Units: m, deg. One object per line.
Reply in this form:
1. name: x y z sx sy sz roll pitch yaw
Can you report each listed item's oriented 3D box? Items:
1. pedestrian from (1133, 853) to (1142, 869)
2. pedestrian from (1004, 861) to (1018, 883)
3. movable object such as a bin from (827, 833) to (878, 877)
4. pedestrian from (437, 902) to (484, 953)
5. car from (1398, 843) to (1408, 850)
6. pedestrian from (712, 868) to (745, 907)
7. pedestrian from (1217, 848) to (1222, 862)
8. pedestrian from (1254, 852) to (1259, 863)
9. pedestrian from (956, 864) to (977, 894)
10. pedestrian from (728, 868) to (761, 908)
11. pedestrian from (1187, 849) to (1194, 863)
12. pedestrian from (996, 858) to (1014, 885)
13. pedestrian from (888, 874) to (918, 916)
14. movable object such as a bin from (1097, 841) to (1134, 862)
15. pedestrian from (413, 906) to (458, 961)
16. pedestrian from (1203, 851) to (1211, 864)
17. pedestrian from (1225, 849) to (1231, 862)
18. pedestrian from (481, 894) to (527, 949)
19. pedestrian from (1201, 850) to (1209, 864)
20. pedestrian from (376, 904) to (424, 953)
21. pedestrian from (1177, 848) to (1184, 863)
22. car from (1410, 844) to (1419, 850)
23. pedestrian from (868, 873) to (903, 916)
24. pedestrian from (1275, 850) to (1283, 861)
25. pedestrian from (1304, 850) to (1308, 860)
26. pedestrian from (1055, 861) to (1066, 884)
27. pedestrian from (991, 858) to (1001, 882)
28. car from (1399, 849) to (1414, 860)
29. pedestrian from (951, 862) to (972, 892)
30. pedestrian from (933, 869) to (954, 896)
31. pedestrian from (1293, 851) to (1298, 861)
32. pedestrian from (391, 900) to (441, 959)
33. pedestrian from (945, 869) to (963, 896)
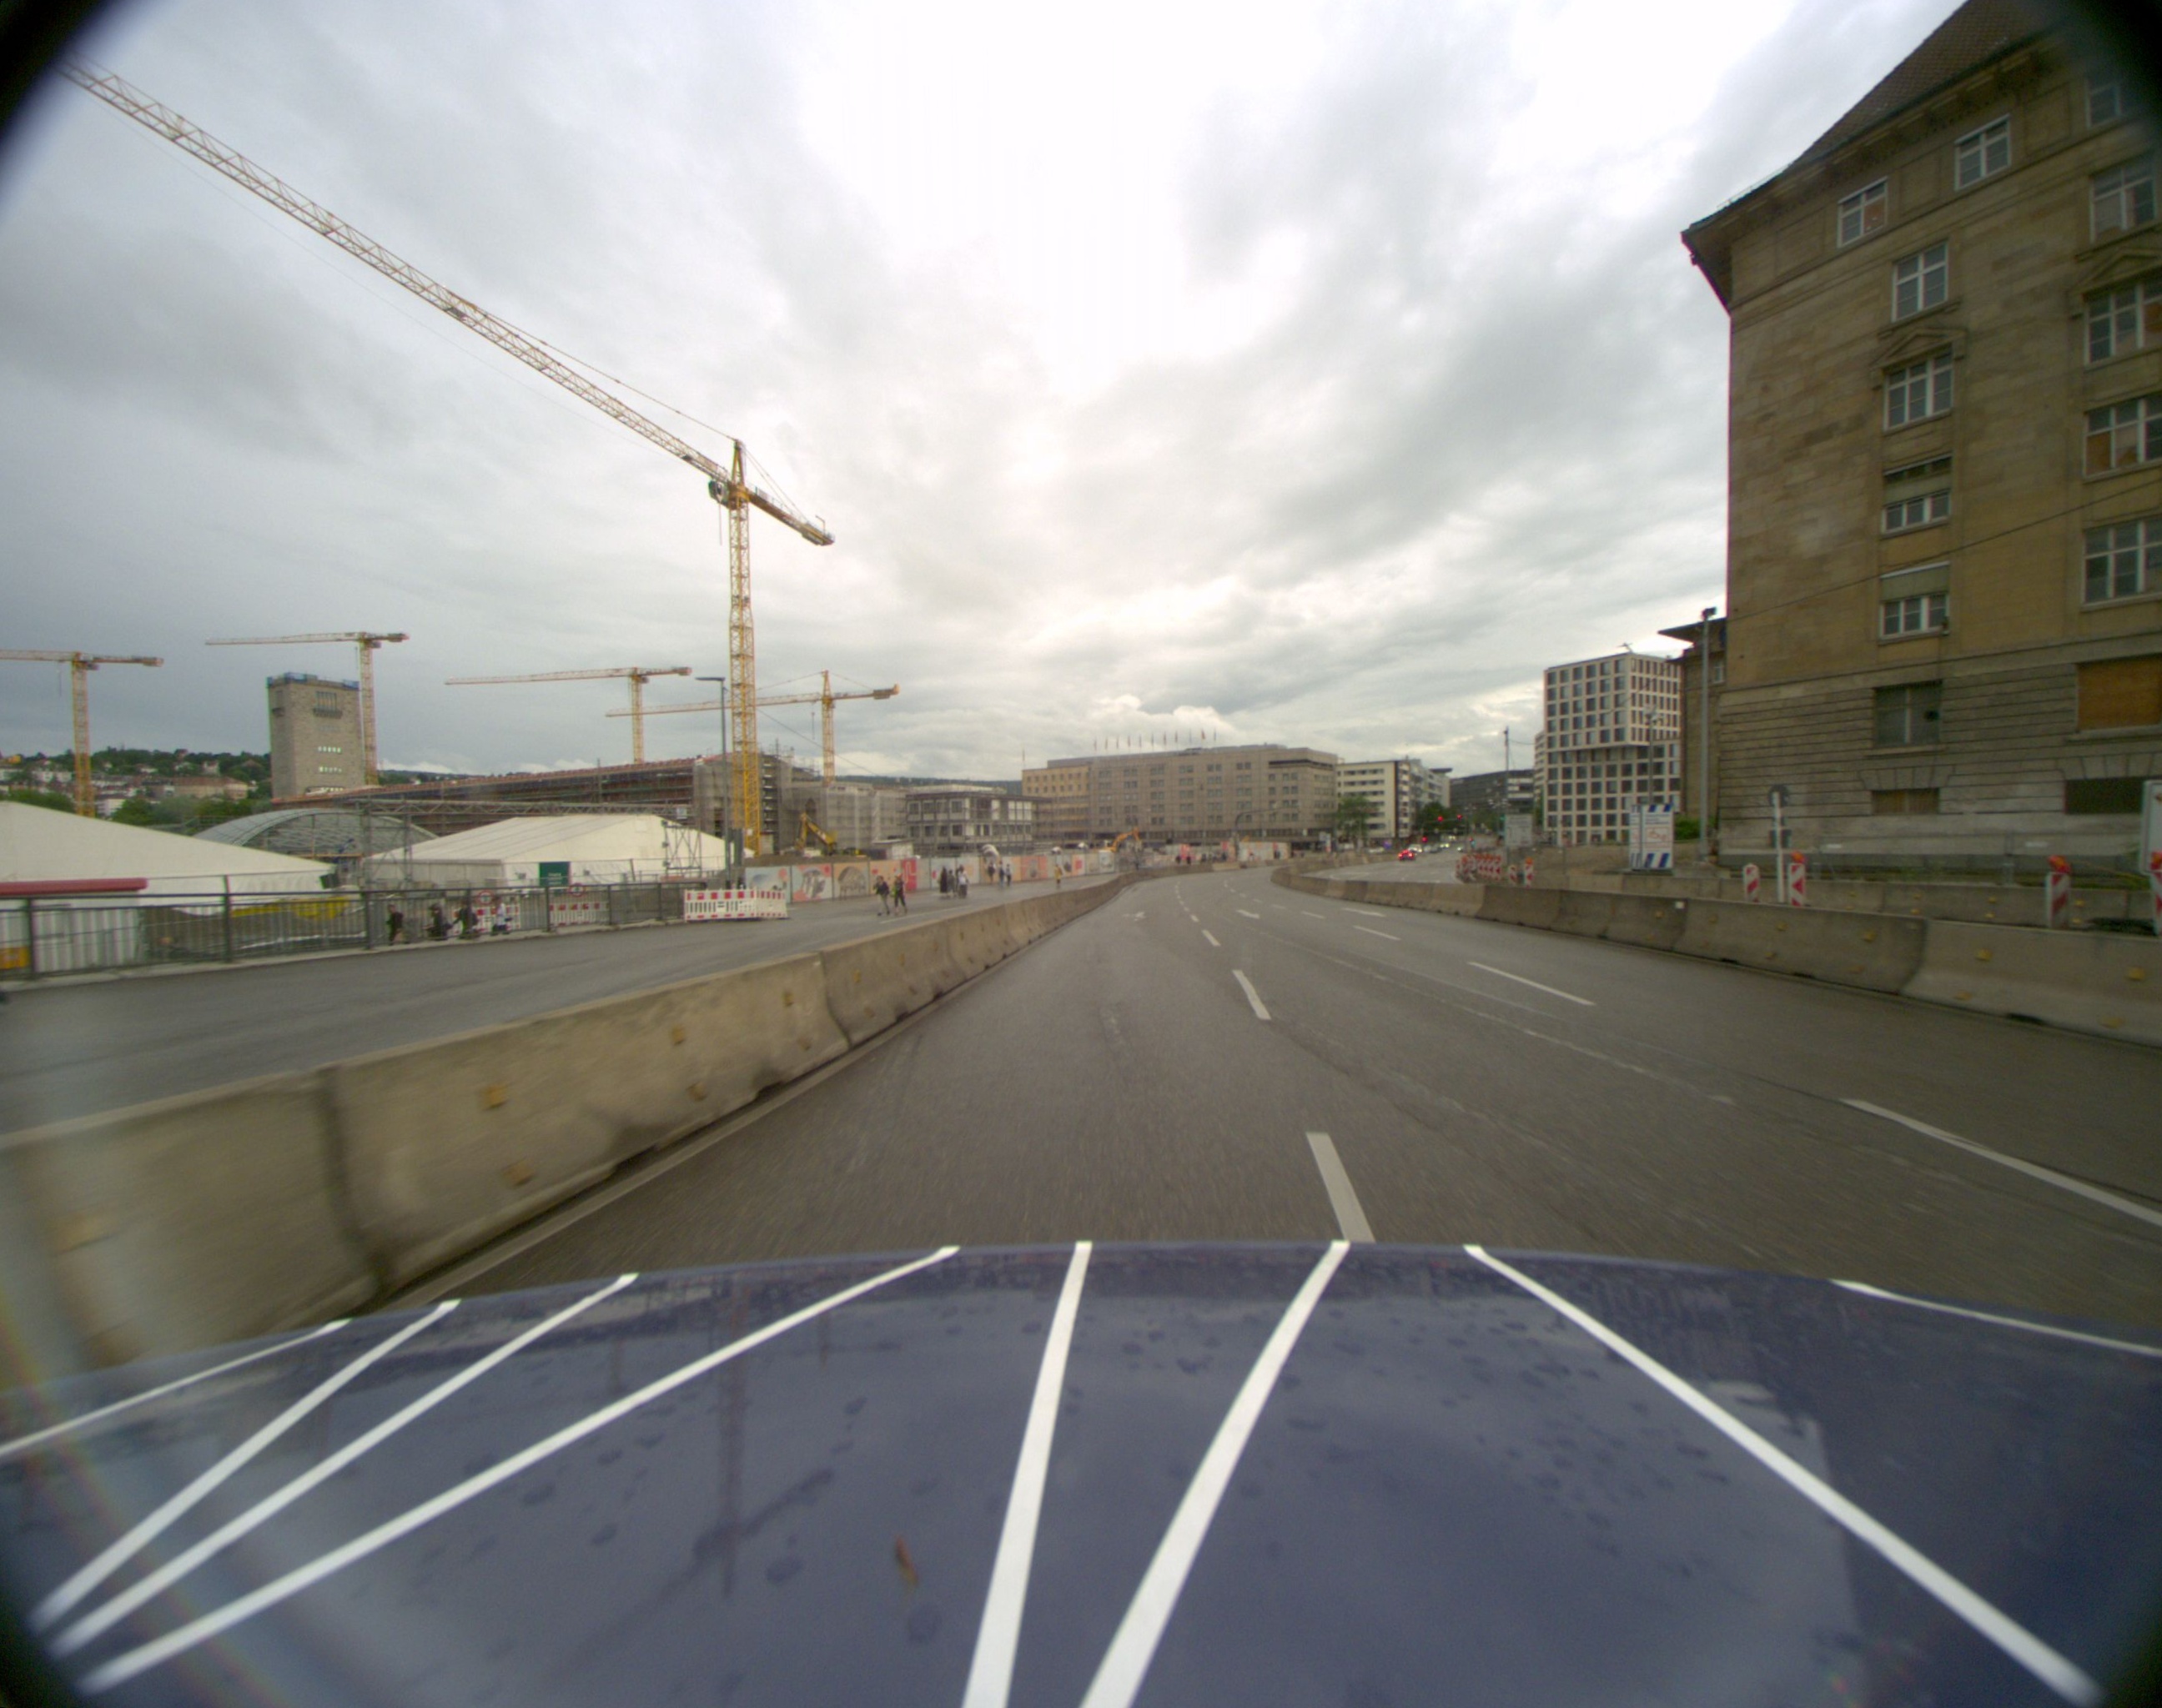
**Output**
1. pedestrian: 5.900 0.748 79.421 0.745 1.696 0.688 1 2 20
2. pedestrian: -5.088 1.317 55.480 0.647 1.544 0.767 0 2 42
3. movable object such as a bin: -18.196 0.064 60.661 1.940 3.389 4.234 0 1 13
4. pedestrian: -21.313 2.508 26.094 0.866 1.627 1.010 0 2 35
5. car: 78.305 -1.801 184.631 1.995 1.814 4.007 0 1 28
6. pedestrian: -16.067 1.512 34.659 0.866 1.679 1.010 0 2 35
7. pedestrian: 18.060 0.129 99.093 0.585 1.698 0.678 1 2 18
8. pedestrian: 25.762 0.511 111.476 0.647 1.660 0.767 1 2 18
9. pedestrian: -6.628 1.444 44.037 0.778 1.713 0.893 0 1 26
10. pedestrian: -15.114 1.494 34.106 0.866 1.716 1.010 0 2 35
11. pedestrian: 12.827 0.227 89.016 0.647 1.637 0.948 1 2 20
12. pedestrian: -5.342 1.242 53.412 0.818 1.838 0.933 0 2 42
13. pedestrian: -6.899 1.566 29.442 0.732 1.565 0.806 -2 0 34
14. movable object such as a bin: 4.295 -0.362 94.835 4.134 2.521 1.995 -1 1 -29
15. pedestrian: -20.569 2.524 24.220 0.698 1.627 0.918 0 2 35
16. pedestrian: 15.756 0.438 95.087 0.654 1.681 0.777 2 2 30
17. pedestrian: 19.614 0.217 101.547 0.647 1.751 0.584 1 2 18
18. pedestrian: -19.977 2.319 26.306 0.866 1.771 1.010 0 2 35
19. pedestrian: 15.049 0.332 92.337 0.654 1.681 0.777 2 2 30
20. pedestrian: -23.539 2.562 26.269 0.866 1.544 1.010 0 2 35
21. pedestrian: 11.663 0.175 89.345 0.647 1.733 0.767 1 2 20
22. car: 80.248 -1.676 182.614 1.705 1.445 3.802 0 1 28
23. pedestrian: -7.655 1.572 29.742 0.860 1.584 0.954 0 2 34
24. pedestrian: 32.395 0.187 124.334 1.097 1.751 0.908 2 2 33
25. pedestrian: 39.237 0.234 132.677 0.652 1.751 0.549 1 2 18
26. pedestrian: -1.441 1.352 54.795 0.648 1.623 0.908 -1 1 7
27. pedestrian: -6.382 1.200 57.254 0.567 1.738 0.496 0 2 24
28. car: 46.475 0.018 108.484 1.767 1.512 4.394 0 1 26
29. pedestrian: -7.634 1.457 48.446 0.867 1.807 1.010 0 1 26
30. pedestrian: -8.021 1.638 44.270 0.714 1.544 1.010 0 1 26
31. pedestrian: 35.703 0.326 126.399 0.755 1.751 0.767 1 2 18
32. pedestrian: -21.438 2.401 24.492 0.771 1.773 1.010 0 2 35
33. pedestrian: -7.383 1.640 44.050 0.609 1.514 0.887 0 1 26
